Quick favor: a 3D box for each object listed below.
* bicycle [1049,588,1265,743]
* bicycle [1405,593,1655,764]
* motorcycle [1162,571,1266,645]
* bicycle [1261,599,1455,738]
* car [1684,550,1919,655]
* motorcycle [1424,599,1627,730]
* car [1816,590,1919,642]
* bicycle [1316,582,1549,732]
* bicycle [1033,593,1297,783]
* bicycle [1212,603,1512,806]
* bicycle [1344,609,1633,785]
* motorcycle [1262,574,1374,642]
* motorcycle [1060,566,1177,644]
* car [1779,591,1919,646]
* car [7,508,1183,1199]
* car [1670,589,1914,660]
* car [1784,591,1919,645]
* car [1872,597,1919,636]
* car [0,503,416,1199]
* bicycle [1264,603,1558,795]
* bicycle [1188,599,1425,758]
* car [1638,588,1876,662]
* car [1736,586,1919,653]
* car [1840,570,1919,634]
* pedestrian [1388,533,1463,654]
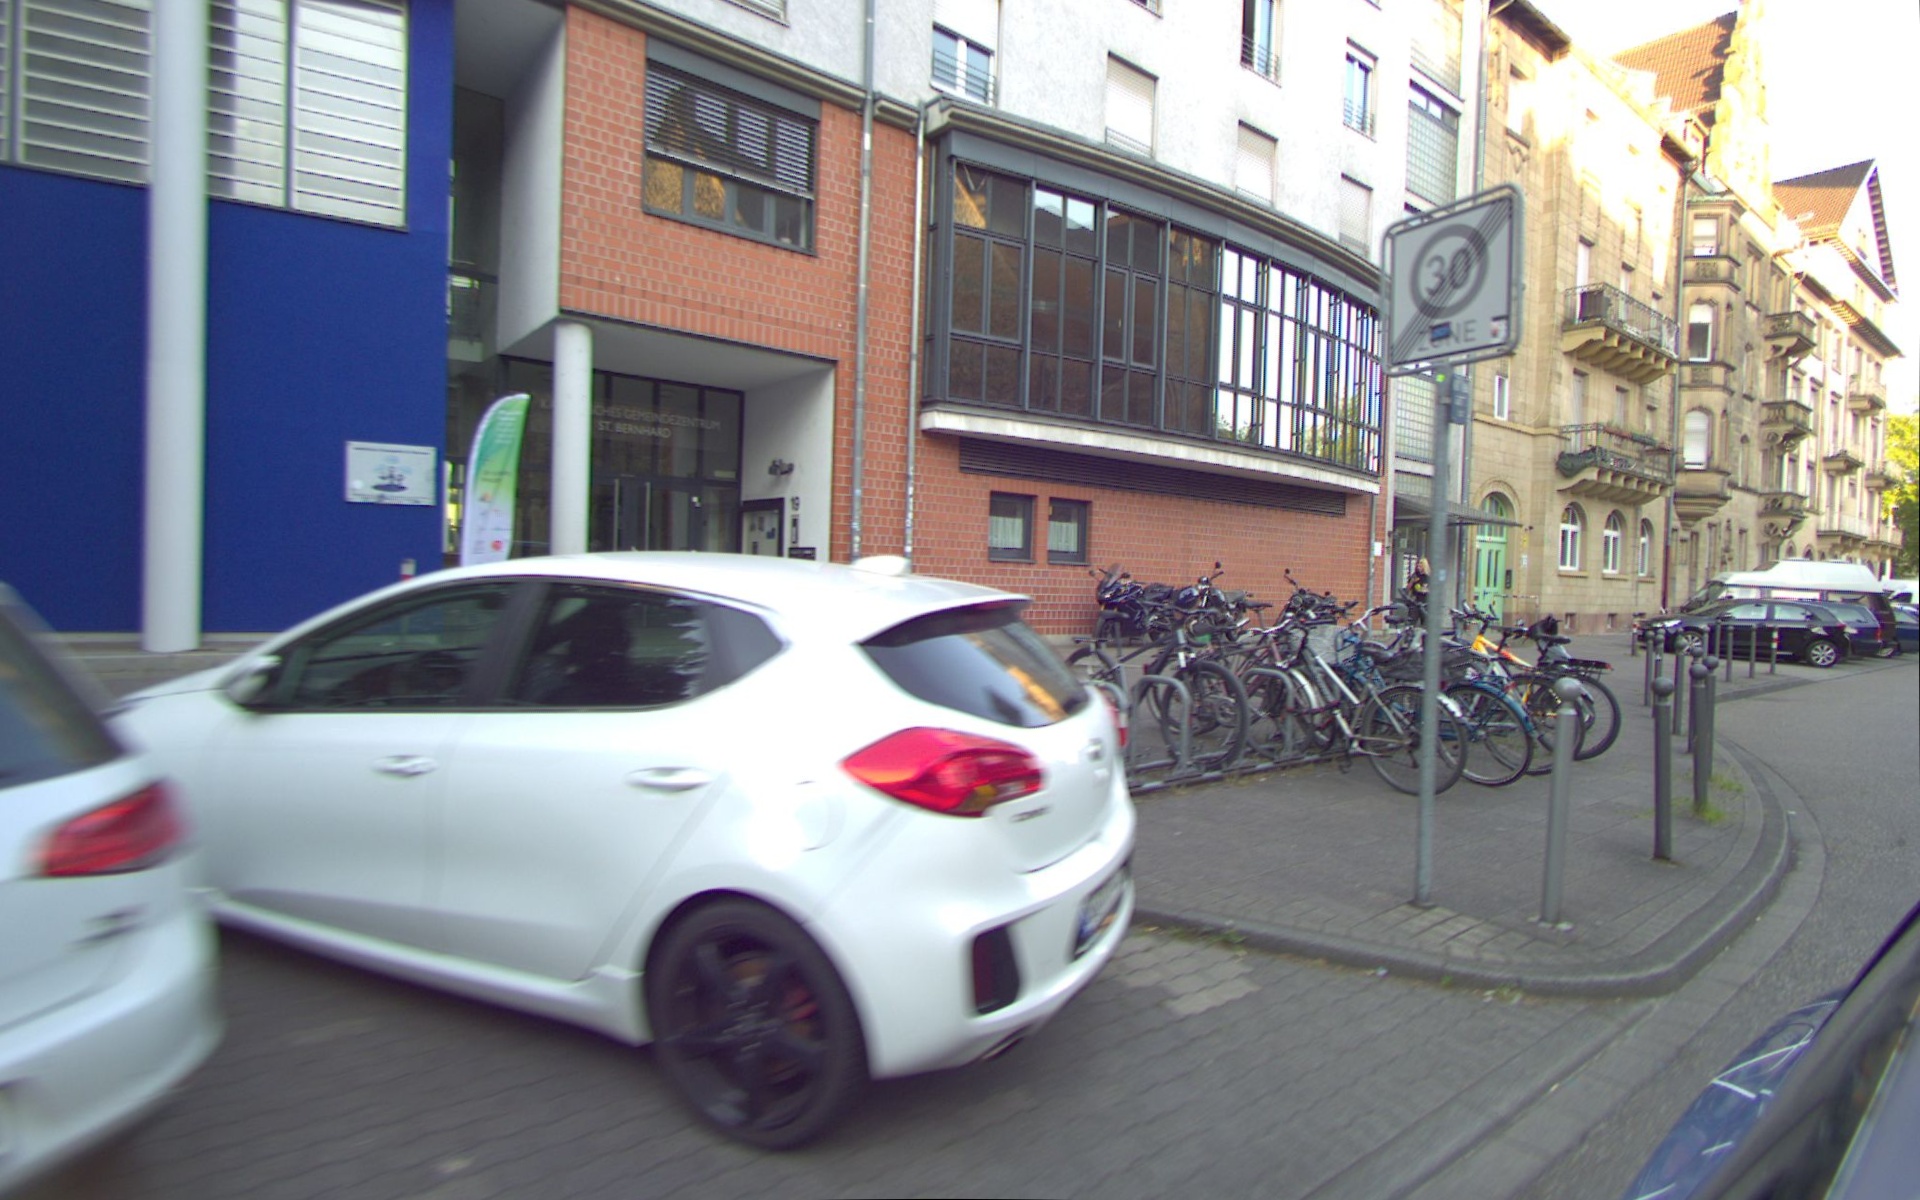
[{"bbox_3d":[1.624,0.499,8.639,0.515,1.078,1.862,1,3,-40],"label":"bicycle"},{"bbox_3d":[4.714,0.592,8.482,0.463,1.190,1.712,1,3,-40],"label":"bicycle"},{"bbox_3d":[4.366,0.110,17.237,0.774,1.153,2.383,4,3,38],"label":"motorcycle"},{"bbox_3d":[3.545,0.568,9.122,0.463,1.051,1.544,1,3,-40],"label":"bicycle"},{"bbox_3d":[22.482,-0.002,27.067,4.672,2.578,1.904,2,2,23],"label":"car"},{"bbox_3d":[5.747,0.610,10.350,1.645,1.115,0.637,6,4,43],"label":"motorcycle"},{"bbox_3d":[33.153,0.603,35.656,4.039,1.626,1.809,4,3,14],"label":"car"},{"bbox_3d":[4.483,0.488,9.732,0.647,1.159,1.865,1,4,-39],"label":"bicycle"},{"bbox_3d":[1.397,0.554,7.283,0.515,1.078,1.916,1,3,-40],"label":"bicycle"},{"bbox_3d":[2.645,0.630,6.879,0.438,1.078,1.862,1,3,-40],"label":"bicycle"},{"bbox_3d":[3.934,0.662,7.695,0.463,1.051,1.862,1,3,-40],"label":"bicycle"},{"bbox_3d":[6.761,0.144,19.049,2.396,1.153,0.802,1,3,-40],"label":"motorcycle"},{"bbox_3d":[2.495,0.069,15.786,2.048,1.116,0.589,0,4,-42],"label":"motorcycle"},{"bbox_3d":[29.054,0.603,32.333,3.982,1.449,1.858,4,3,18],"label":"car"},{"bbox_3d":[-1.332,0.491,3.746,3.955,1.525,1.757,2,1,23],"label":"car"},{"bbox_3d":[20.650,0.555,25.375,4.309,1.521,1.898,2,1,24],"label":"car"},{"bbox_3d":[30.707,0.619,34.143,4.002,1.516,1.746,4,3,17],"label":"car"},{"bbox_3d":[40.329,0.773,41.206,4.192,1.471,1.993,3,3,13],"label":"car"},{"bbox_3d":[-3.368,0.533,2.027,3.949,1.491,1.865,2,3,19],"label":"car"},{"bbox_3d":[3.123,0.627,7.201,0.438,1.078,1.862,1,3,-40],"label":"bicycle"},{"bbox_3d":[2.780,0.583,8.317,0.395,1.051,1.862,1,3,-40],"label":"bicycle"},{"bbox_3d":[18.668,0.531,23.926,4.021,1.510,1.712,2,1,21],"label":"car"},{"bbox_3d":[24.946,0.536,28.568,4.348,1.504,1.831,5,3,22],"label":"car"},{"bbox_3d":[41.977,0.164,43.448,5.792,2.582,2.190,3,4,11],"label":"car"},{"bbox_3d":[8.205,-0.123,17.845,0.842,2.035,0.610,1,8,-38],"label":"pedestrian"}]
